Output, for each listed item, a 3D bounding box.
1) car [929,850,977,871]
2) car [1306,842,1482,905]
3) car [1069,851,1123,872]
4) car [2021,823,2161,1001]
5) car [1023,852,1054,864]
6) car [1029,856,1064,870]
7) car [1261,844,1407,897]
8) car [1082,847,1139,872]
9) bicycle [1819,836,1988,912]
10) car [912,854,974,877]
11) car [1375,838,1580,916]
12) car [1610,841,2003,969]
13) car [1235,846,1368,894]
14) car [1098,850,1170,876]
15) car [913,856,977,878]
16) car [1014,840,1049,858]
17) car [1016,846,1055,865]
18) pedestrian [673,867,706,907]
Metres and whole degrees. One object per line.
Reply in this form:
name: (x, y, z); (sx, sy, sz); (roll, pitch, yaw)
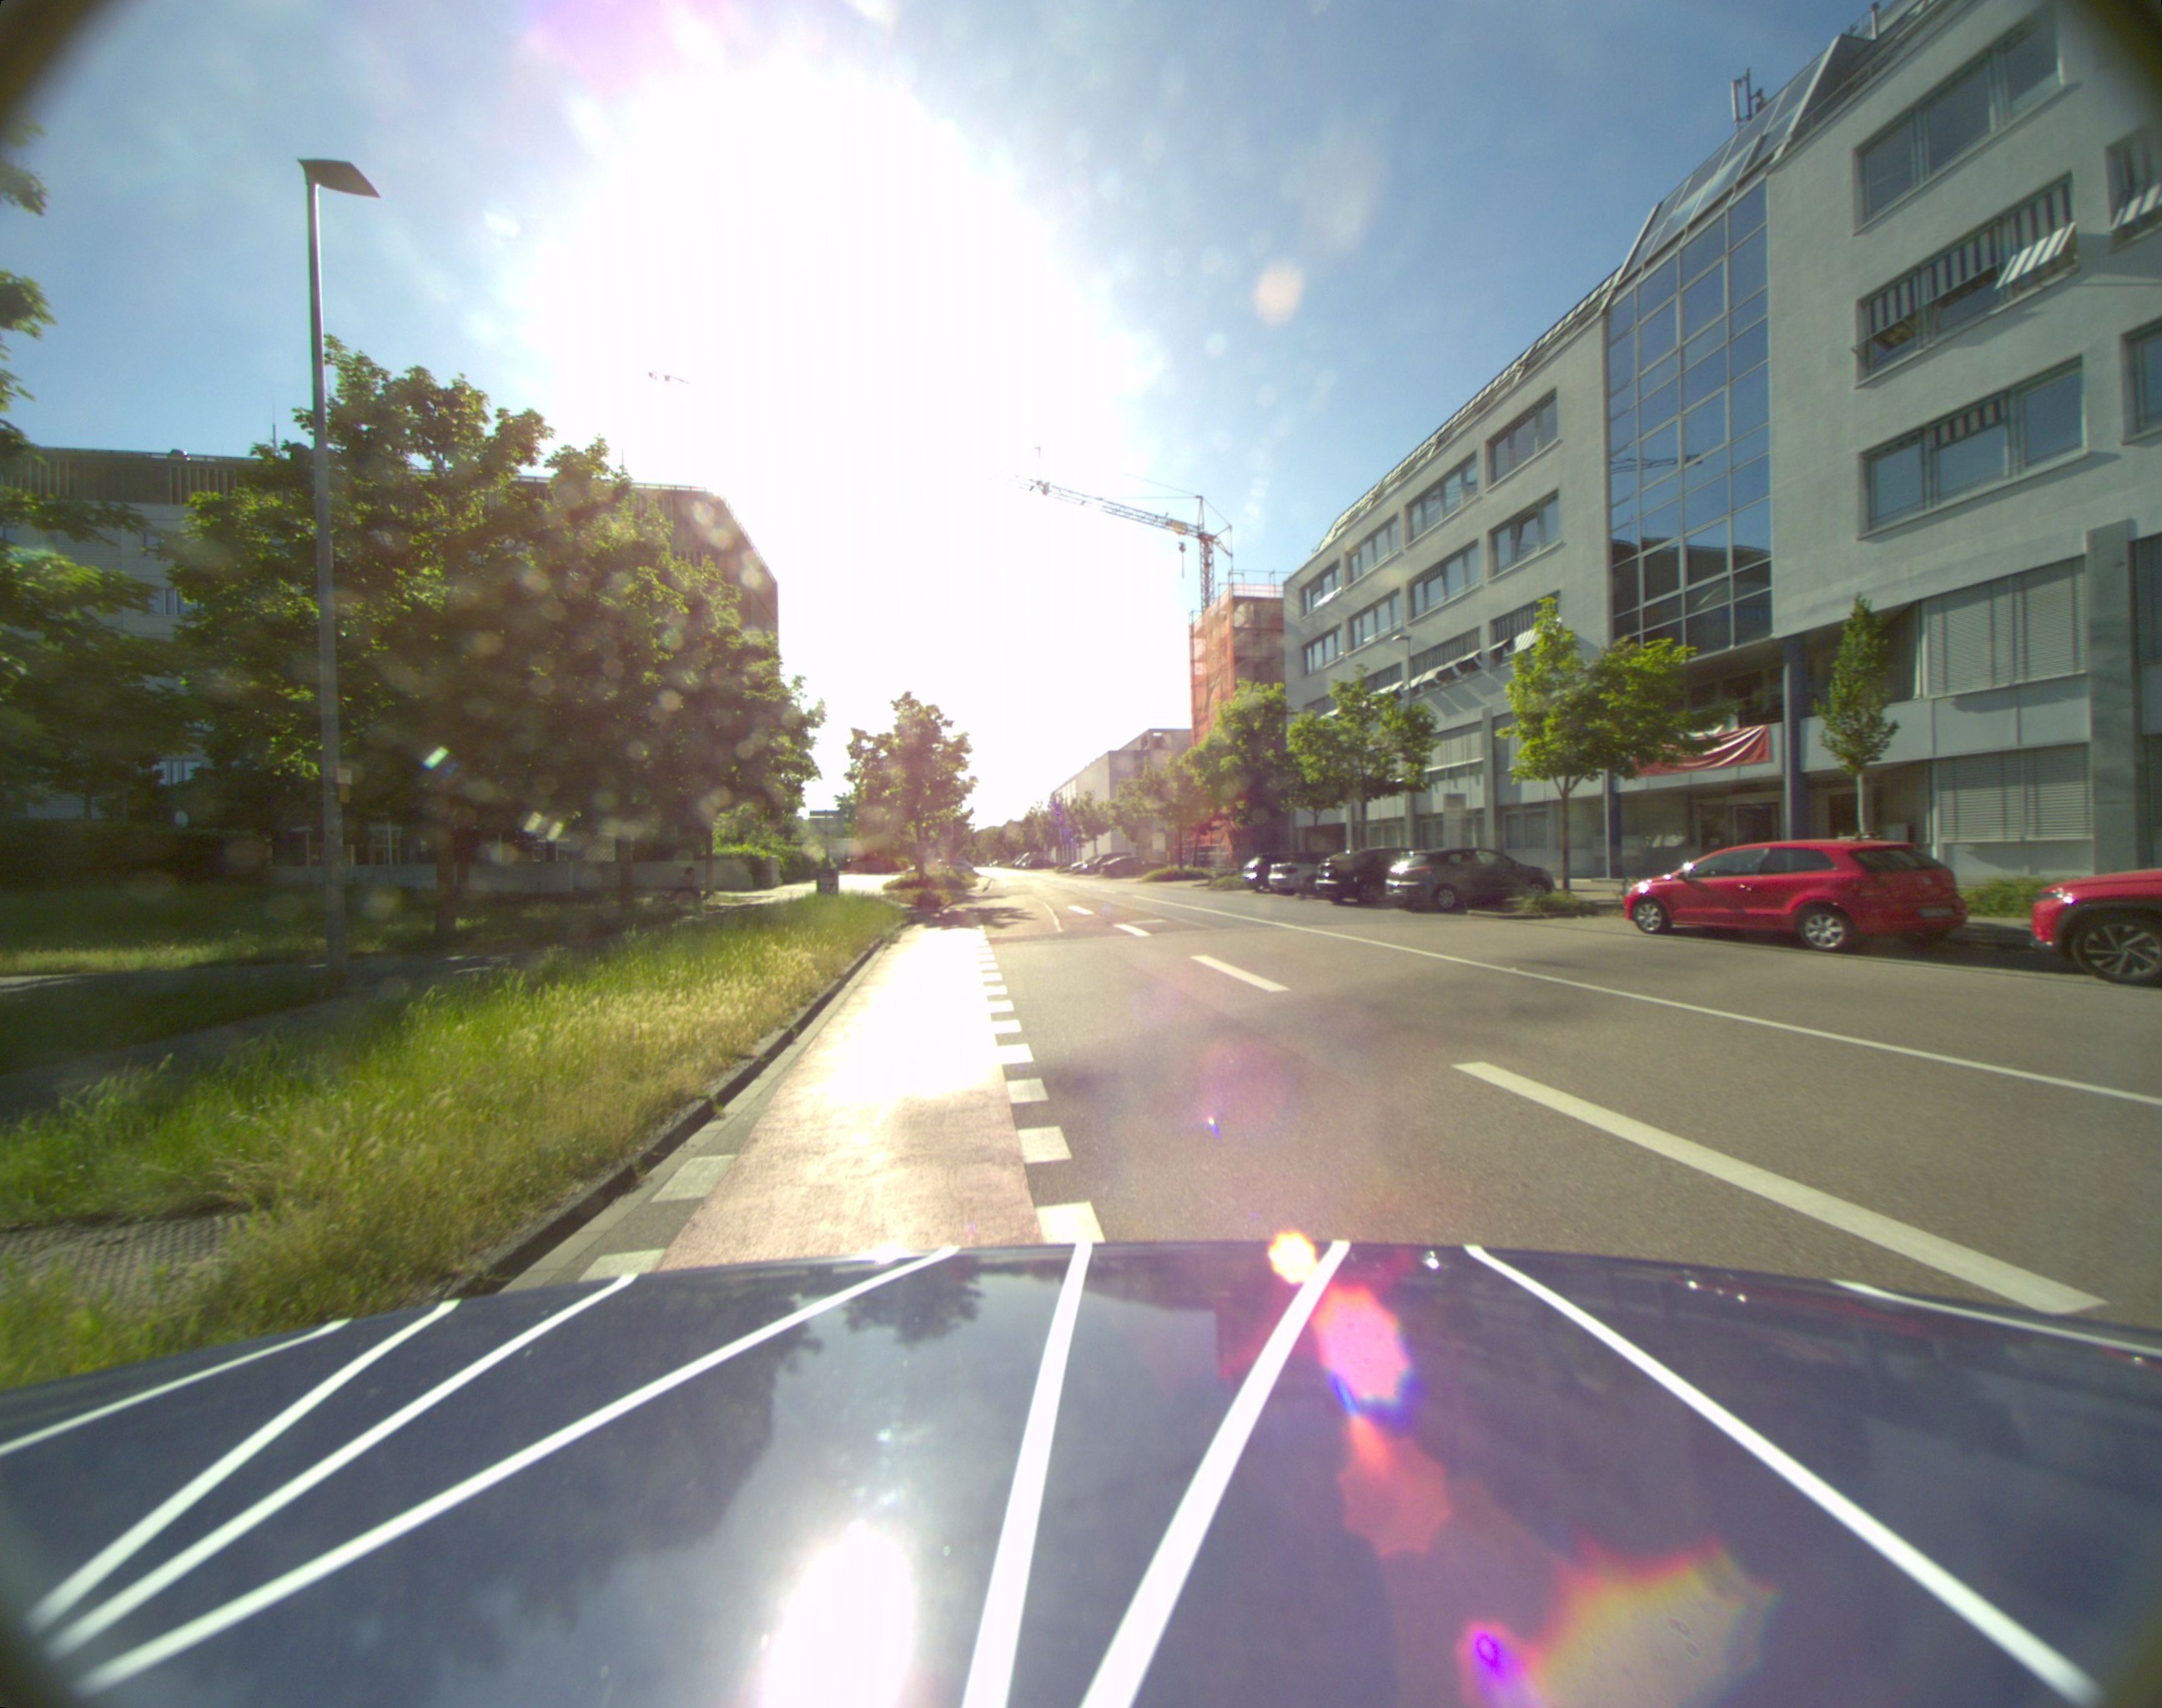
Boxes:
car: (-12.079, 0.616, 71.670); (4.417, 1.881, 2.072); (0, 0, -9)
car: (8.871, 0.515, 21.648); (4.400, 1.424, 1.692); (-4, 1, -12)
car: (1.312, 0.641, 67.249); (4.400, 1.505, 1.692); (-4, 1, -10)
car: (11.089, 0.518, 5.986); (1.694, 1.598, 4.306); (-4, 1, -11)
car: (-6.306, 0.624, 112.693); (4.318, 1.505, 1.692); (-4, 1, -10)
car: (-4.624, 1.197, 101.676); (4.318, 1.505, 1.717); (-4, 1, -10)
car: (8.598, 0.535, 25.940); (4.400, 1.424, 1.692); (-4, 1, -11)
car: (2.414, 0.436, 63.087); (4.399, 1.735, 1.845); (-4, 1, -8)
bicycle: (15.573, 0.349, 14.497); (0.711, 1.339, 2.231); (0, 0, -4)
car: (-10.249, 0.802, 56.530); (4.417, 1.631, 2.072); (0, 0, -9)
car: (9.721, 0.512, 18.701); (4.401, 1.529, 1.691); (-4, 1, -14)
car: (10.173, 0.611, 11.124); (1.693, 1.424, 3.868); (-4, 1, -10)
car: (8.164, 0.557, 28.226); (4.400, 1.424, 1.692); (-4, 1, -11)
car: (3.584, 0.595, 51.669); (4.401, 1.424, 1.975); (-4, 1, -13)
car: (-9.699, 0.914, 54.307); (4.417, 1.454, 1.894); (0, 0, -9)
car: (-8.373, -0.834, 127.723); (5.587, 2.622, 2.009); (-4, 1, -7)
car: (-6.933, 0.265, 115.978); (5.587, 2.468, 2.009); (-4, 1, -7)
pedestrian: (-12.172, 1.021, 23.624); (0.848, 1.210, 0.727); (0, 0, -22)
